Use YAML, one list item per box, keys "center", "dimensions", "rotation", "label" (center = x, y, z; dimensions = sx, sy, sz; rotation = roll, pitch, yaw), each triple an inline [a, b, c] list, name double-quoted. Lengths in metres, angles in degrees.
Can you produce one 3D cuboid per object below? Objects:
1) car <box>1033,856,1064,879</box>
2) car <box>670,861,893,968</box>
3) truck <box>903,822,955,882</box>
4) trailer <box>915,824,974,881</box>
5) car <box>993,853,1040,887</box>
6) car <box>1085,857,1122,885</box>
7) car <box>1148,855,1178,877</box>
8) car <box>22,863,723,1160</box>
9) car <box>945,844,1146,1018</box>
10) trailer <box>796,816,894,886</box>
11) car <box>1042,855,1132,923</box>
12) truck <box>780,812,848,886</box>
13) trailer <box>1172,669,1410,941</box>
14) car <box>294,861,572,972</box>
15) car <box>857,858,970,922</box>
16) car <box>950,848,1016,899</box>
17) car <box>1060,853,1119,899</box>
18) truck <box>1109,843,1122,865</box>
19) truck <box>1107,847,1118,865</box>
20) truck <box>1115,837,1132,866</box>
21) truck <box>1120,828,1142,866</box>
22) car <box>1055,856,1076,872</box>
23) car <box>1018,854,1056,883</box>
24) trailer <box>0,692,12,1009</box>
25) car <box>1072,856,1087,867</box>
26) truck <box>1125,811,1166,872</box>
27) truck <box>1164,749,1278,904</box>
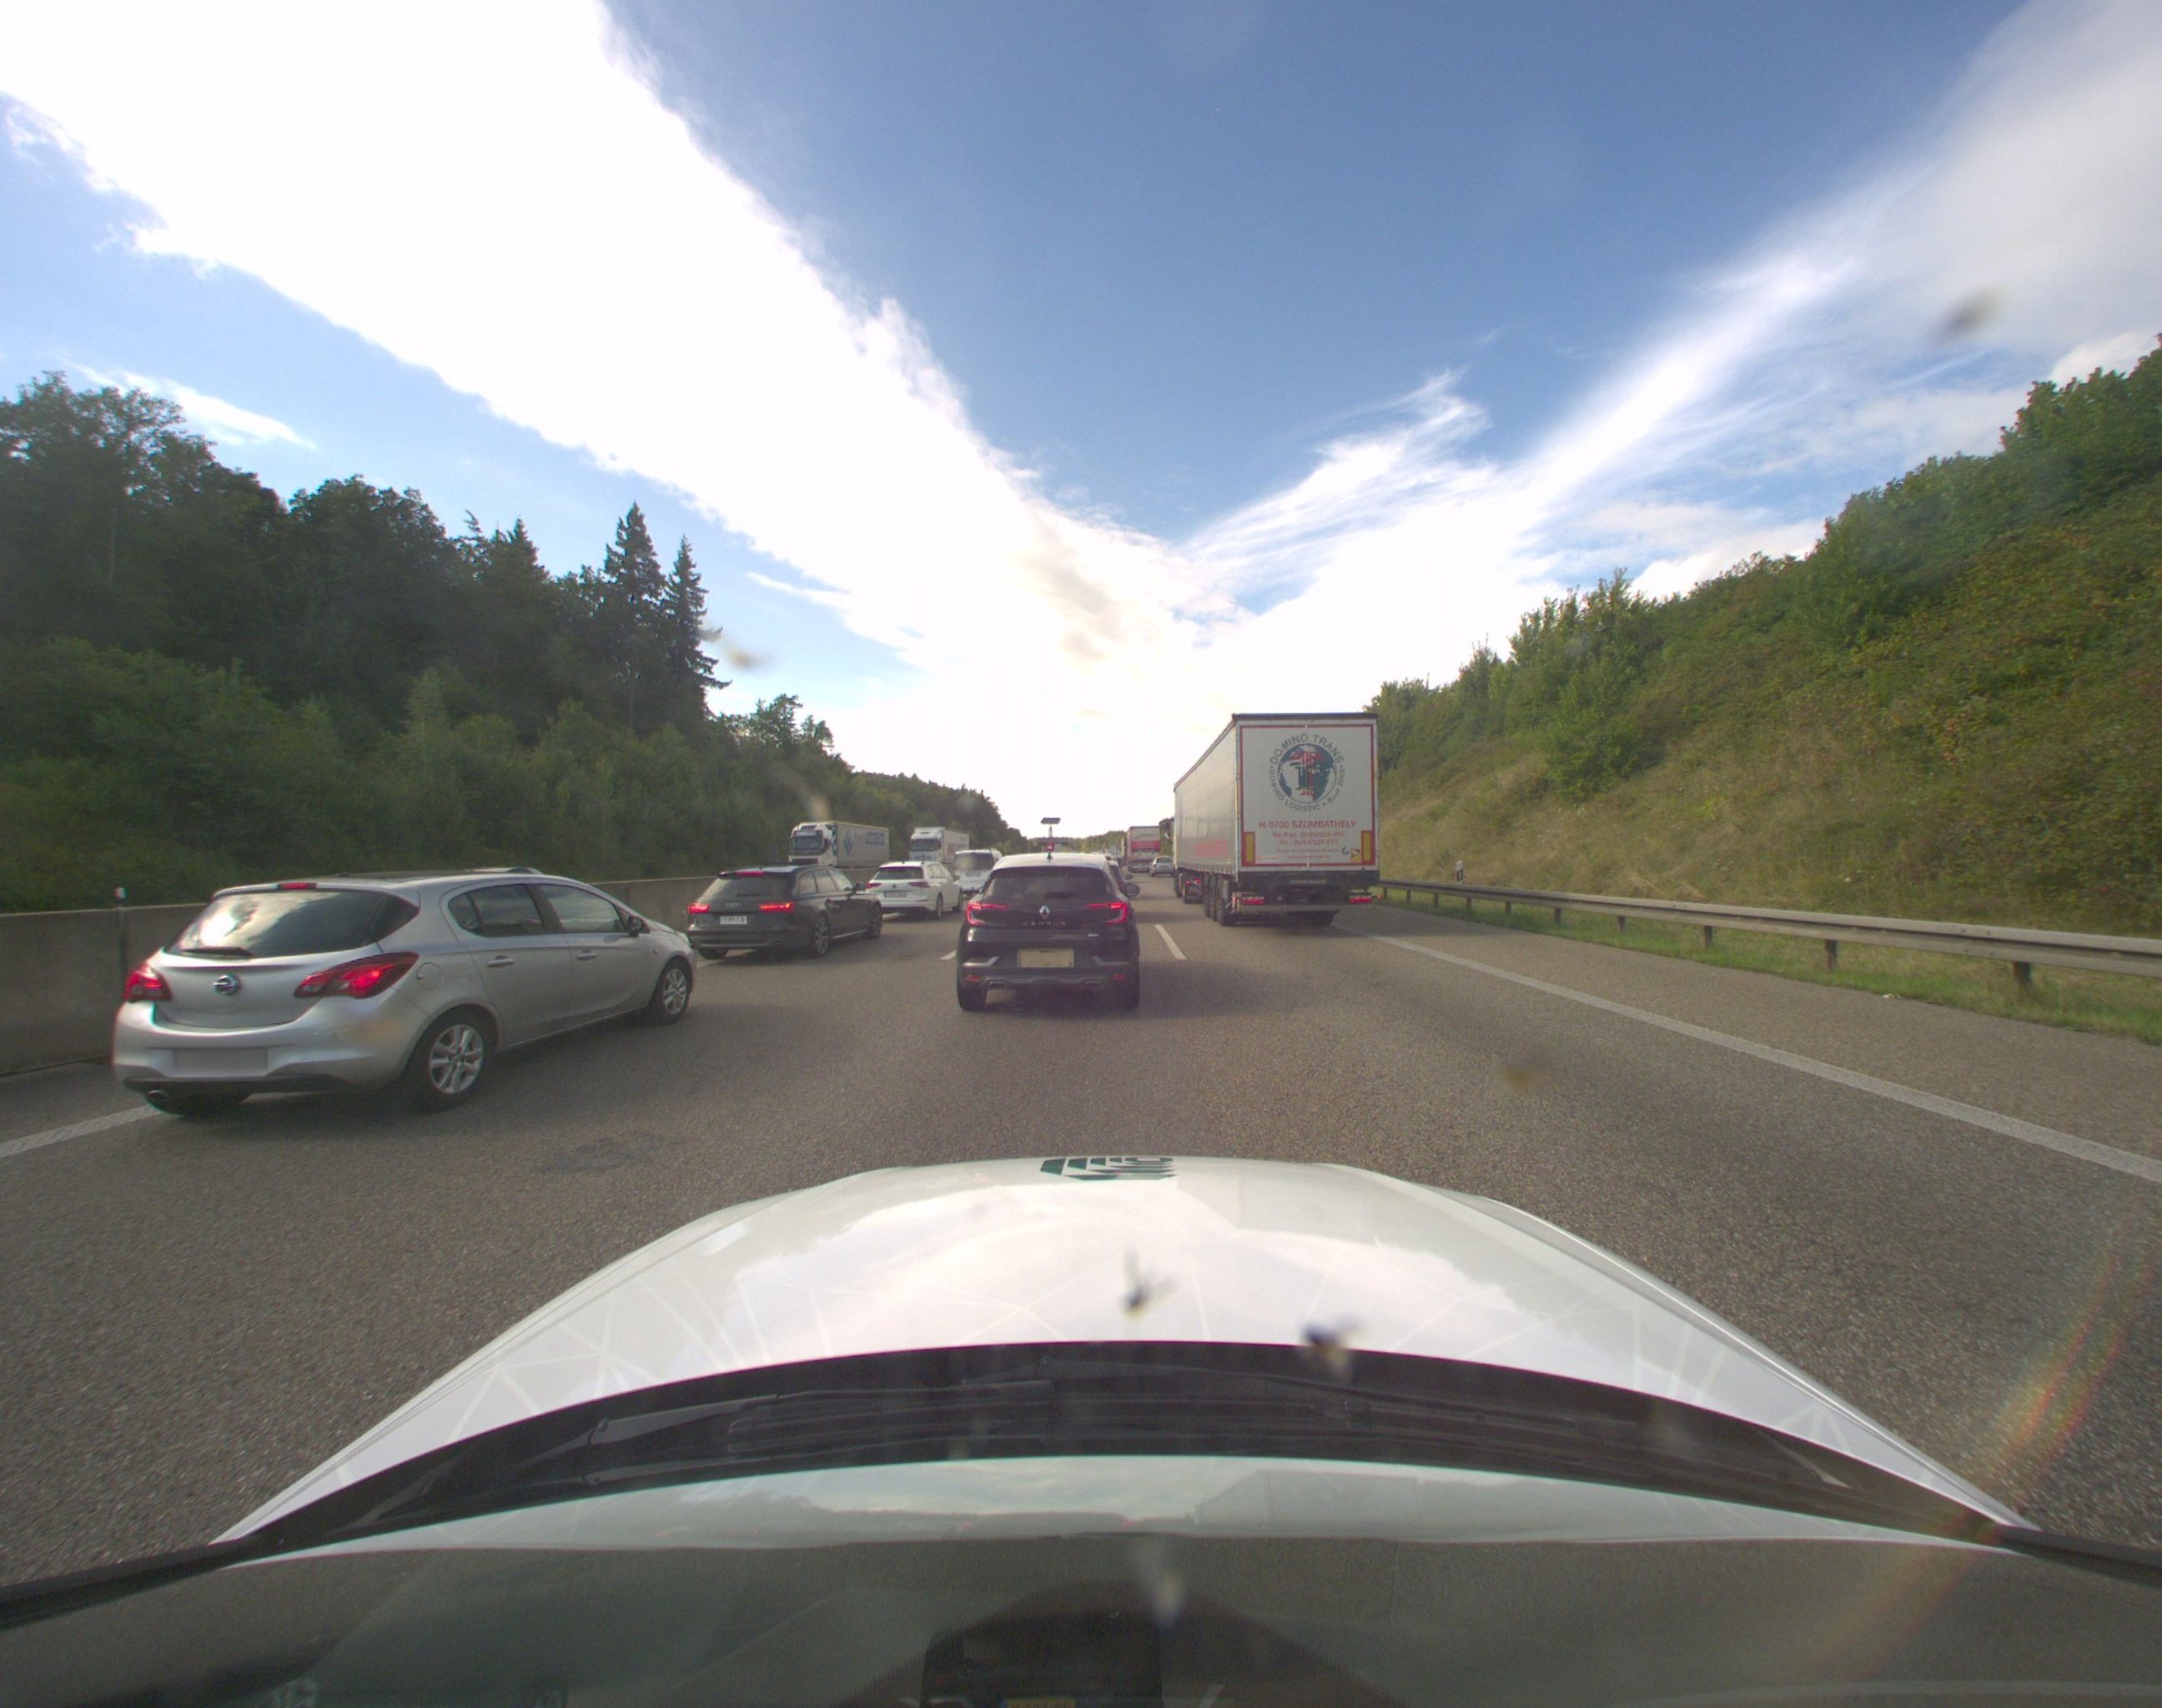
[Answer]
- center: [-2.397, 1.004, 61.471]
  dimensions: [1.985, 1.613, 4.002]
  rotation: [0, -1, 3]
  label: "car"
- center: [-4.759, 0.869, 13.805]
  dimensions: [1.835, 1.456, 4.751]
  rotation: [0, 0, 2]
  label: "car"
- center: [-13.476, -0.153, 72.893]
  dimensions: [3.076, 5.101, 7.144]
  rotation: [0, -1, 2]
  label: "truck"
- center: [-13.271, -0.081, 80.476]
  dimensions: [3.077, 5.074, 13.838]
  rotation: [0, -1, 1]
  label: "trailer"
- center: [-3.253, 0.822, 41.545]
  dimensions: [1.848, 1.641, 3.928]
  rotation: [0, -1, 3]
  label: "car"
- center: [1.333, 0.936, 46.221]
  dimensions: [1.985, 1.514, 4.002]
  rotation: [0, -1, 3]
  label: "car"
- center: [5.733, 0.847, 57.468]
  dimensions: [1.798, 1.533, 3.926]
  rotation: [0, -1, 1]
  label: "car"
- center: [-4.605, 0.847, 6.282]
  dimensions: [1.740, 1.465, 4.043]
  rotation: [-1, 0, 2]
  label: "car"
- center: [-0.166, 0.708, 9.349]
  dimensions: [1.796, 1.552, 4.005]
  rotation: [-1, 0, 4]
  label: "car"
- center: [-18.019, -0.155, 63.694]
  dimensions: [2.916, 4.830, 14.659]
  rotation: [0, -1, 2]
  label: "trailer"
- center: [0.231, 0.801, 20.173]
  dimensions: [1.985, 1.514, 4.002]
  rotation: [0, -1, 3]
  label: "car"
- center: [-18.265, -0.323, 55.969]
  dimensions: [2.921, 4.859, 4.767]
  rotation: [0, -1, 2]
  label: "truck"
- center: [4.346, -0.838, 20.661]
  dimensions: [2.991, 4.661, 13.295]
  rotation: [-1, 0, 2]
  label: "trailer"
- center: [-12.211, 1.071, 15.806]
  dimensions: [1.845, 1.810, 4.325]
  rotation: [0, 0, 2]
  label: "car"
- center: [-4.191, 0.855, 21.114]
  dimensions: [1.797, 1.461, 4.312]
  rotation: [-1, -1, 3]
  label: "car"
- center: [-3.667, 0.725, 31.161]
  dimensions: [1.905, 1.789, 4.418]
  rotation: [0, -1, 1]
  label: "car"
- center: [0.386, 0.760, 29.414]
  dimensions: [1.985, 1.514, 4.002]
  rotation: [0, -1, 3]
  label: "car"
- center: [8.439, 0.055, 198.234]
  dimensions: [3.153, 5.159, 12.746]
  rotation: [0, -1, 3]
  label: "truck"
- center: [10.026, 0.665, 255.350]
  dimensions: [3.153, 5.505, 12.746]
  rotation: [0, -1, 3]
  label: "truck"
- center: [8.608, -0.459, 164.102]
  dimensions: [3.152, 5.505, 12.751]
  rotation: [0, -1, 4]
  label: "truck"
- center: [7.670, -0.903, 124.853]
  dimensions: [3.153, 5.505, 12.746]
  rotation: [0, -1, 3]
  label: "truck"
- center: [-1.589, 1.012, 85.023]
  dimensions: [1.985, 1.613, 4.003]
  rotation: [-1, 0, 3]
  label: "car"
- center: [-2.703, 0.895, 51.269]
  dimensions: [1.985, 1.722, 4.002]
  rotation: [0, -1, 3]
  label: "car"
- center: [-19.758, -0.116, 6.803]
  dimensions: [3.030, 5.281, 13.840]
  rotation: [0, -1, 2]
  label: "trailer"
- center: [-0.165, 1.045, 116.827]
  dimensions: [1.985, 1.613, 4.003]
  rotation: [-1, 0, 3]
  label: "car"
- center: [5.771, -0.985, 74.604]
  dimensions: [3.351, 5.044, 12.746]
  rotation: [0, -1, 3]
  label: "truck"
- center: [4.570, -0.839, 27.751]
  dimensions: [2.986, 4.667, 5.942]
  rotation: [-1, 0, 2]
  label: "truck"
